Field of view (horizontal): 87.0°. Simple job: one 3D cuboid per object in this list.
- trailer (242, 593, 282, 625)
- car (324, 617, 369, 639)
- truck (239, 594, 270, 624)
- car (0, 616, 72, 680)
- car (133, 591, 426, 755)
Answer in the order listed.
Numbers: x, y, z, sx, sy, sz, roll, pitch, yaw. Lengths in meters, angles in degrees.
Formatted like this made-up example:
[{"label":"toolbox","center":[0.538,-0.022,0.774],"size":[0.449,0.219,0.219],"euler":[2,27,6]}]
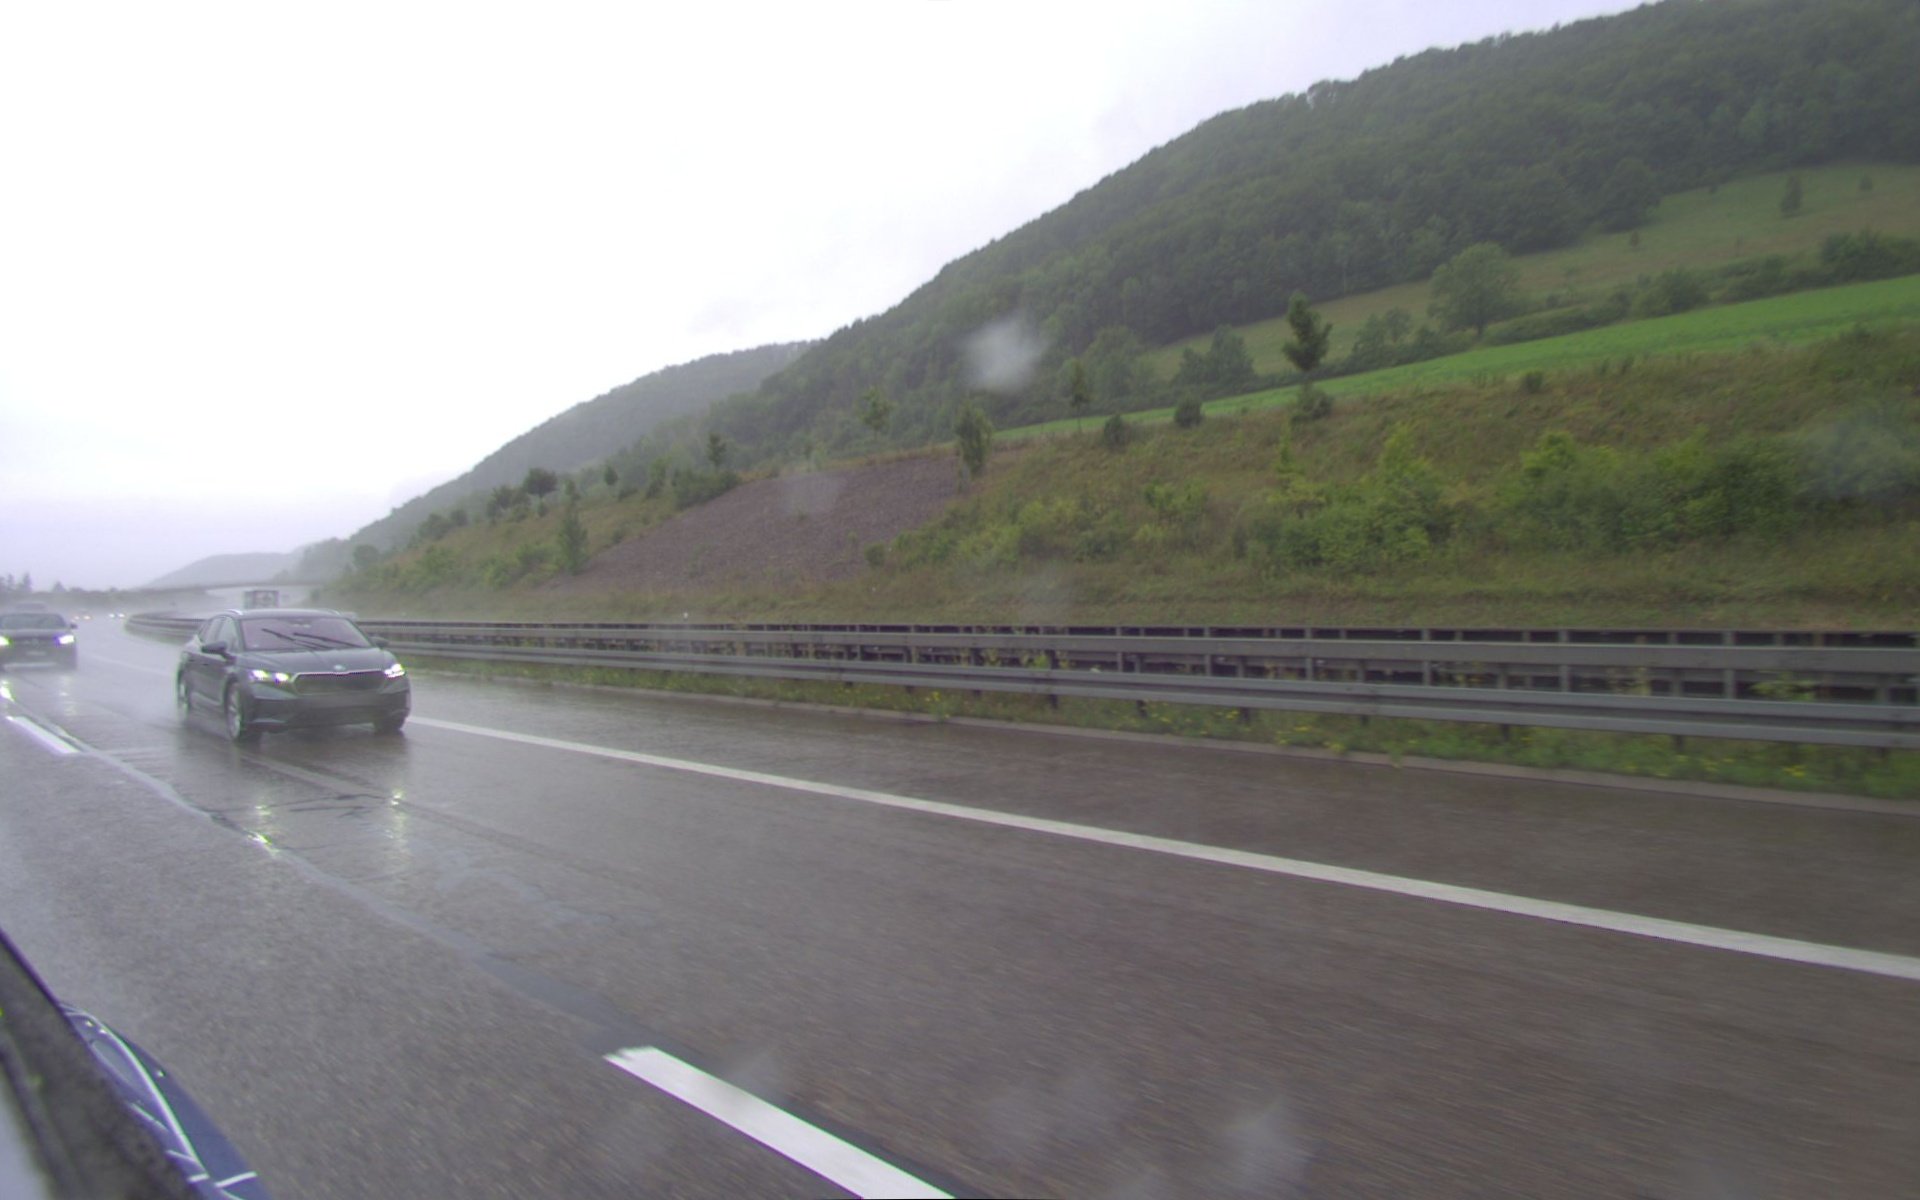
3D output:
[{"label":"trailer","center":[-87.028,1.132,126.066],"size":[2.778,3.709,13.268],"euler":[0,0,-40]},{"label":"car","center":[-41.384,1.859,68.224],"size":[3.777,1.431,1.773],"euler":[-1,-1,45]},{"label":"truck","center":[-91.950,1.179,131.900],"size":[2.746,3.711,6.217],"euler":[0,0,-40]},{"label":"car","center":[-27.787,1.377,30.140],"size":[1.787,1.715,3.756],"euler":[-2,1,-39]},{"label":"car","center":[-9.043,0.803,13.264],"size":[4.907,1.695,1.973],"euler":[-1,2,41]}]
